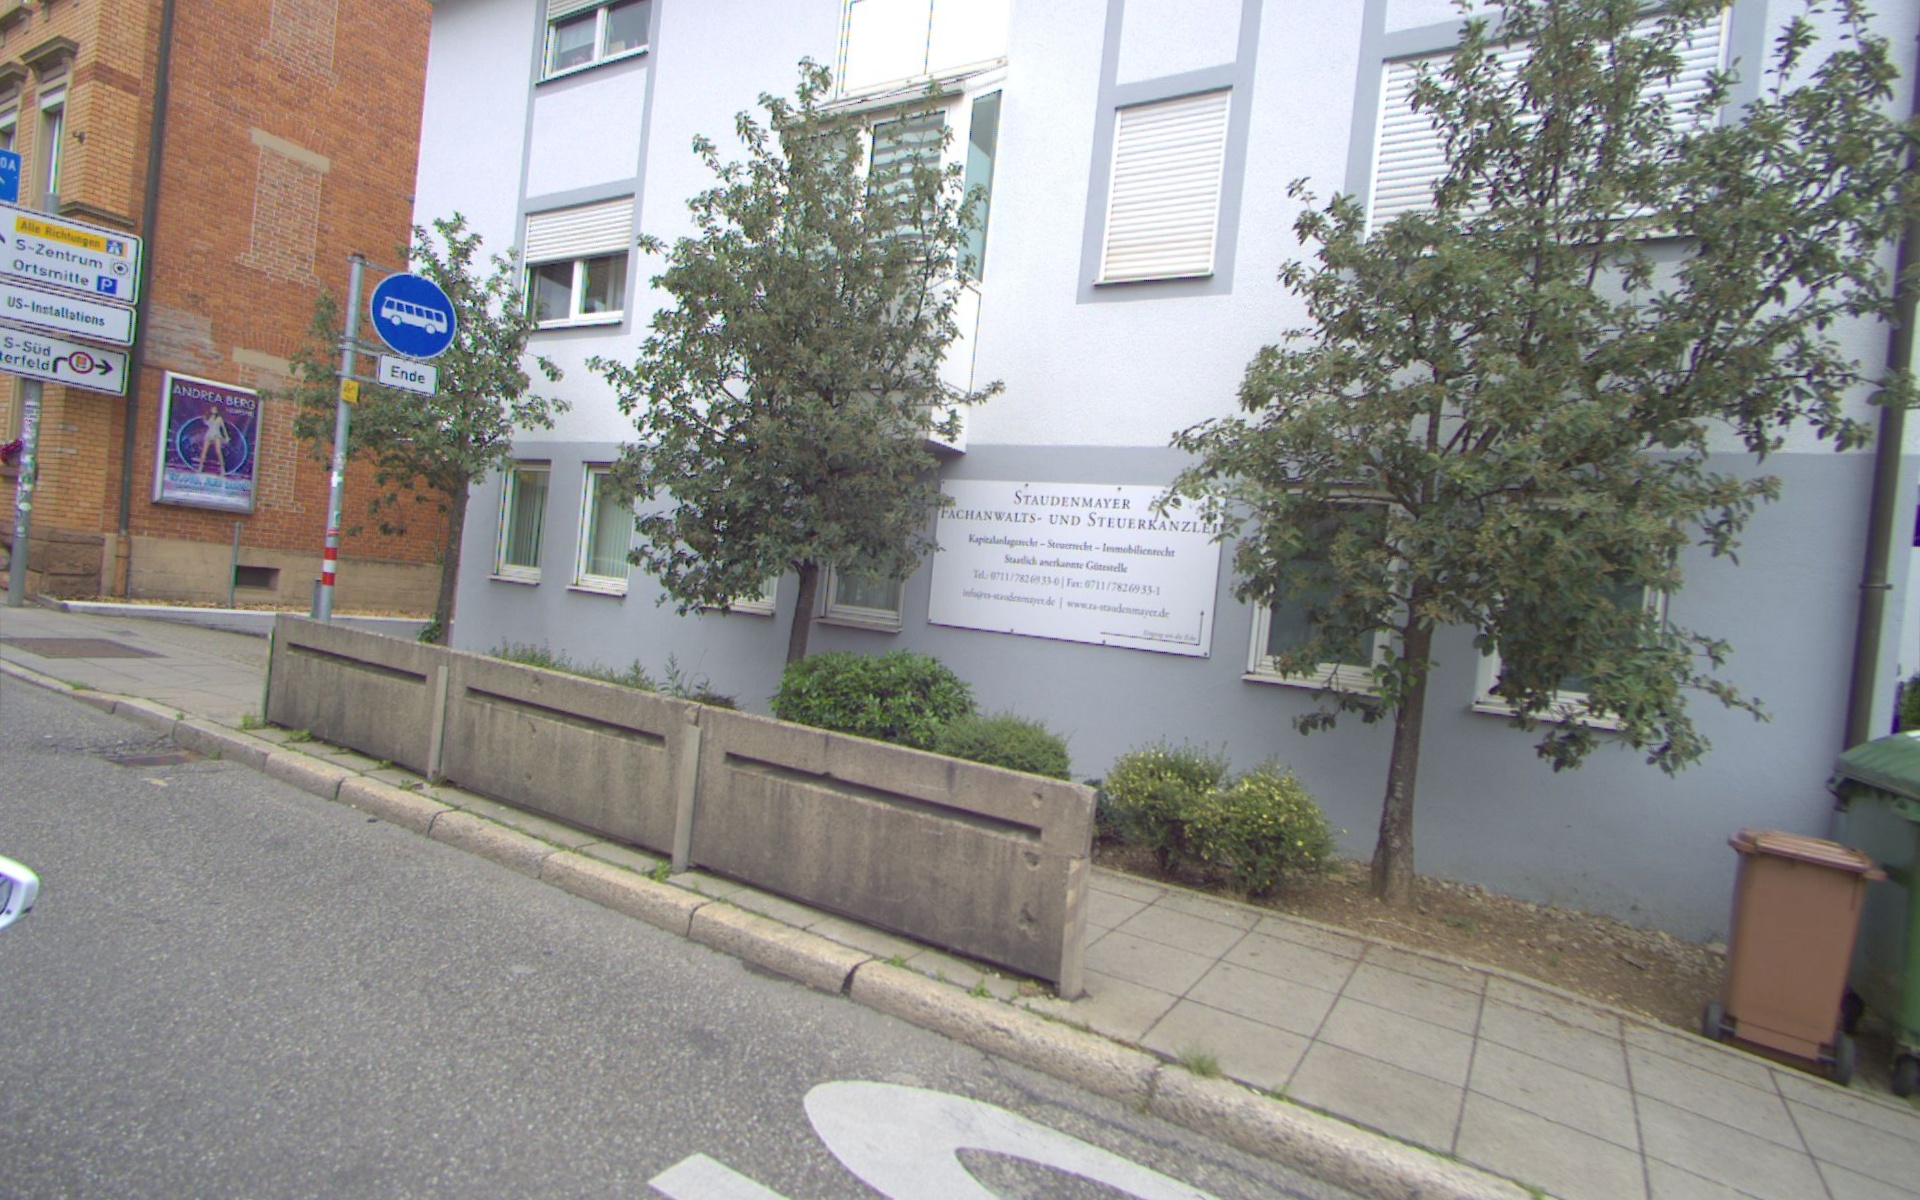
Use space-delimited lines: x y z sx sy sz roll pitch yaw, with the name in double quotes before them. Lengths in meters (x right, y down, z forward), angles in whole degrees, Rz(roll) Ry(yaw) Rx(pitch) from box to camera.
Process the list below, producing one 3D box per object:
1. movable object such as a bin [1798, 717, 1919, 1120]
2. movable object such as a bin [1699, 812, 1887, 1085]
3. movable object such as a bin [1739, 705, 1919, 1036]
"movable object such as a bin" 4.310 1.296 4.032 1.143 1.435 1.268 7 1 32
"movable object such as a bin" 3.471 1.423 4.228 0.457 0.932 0.430 7 1 32
"movable object such as a bin" 5.009 1.378 5.192 1.285 1.453 1.268 7 1 32
